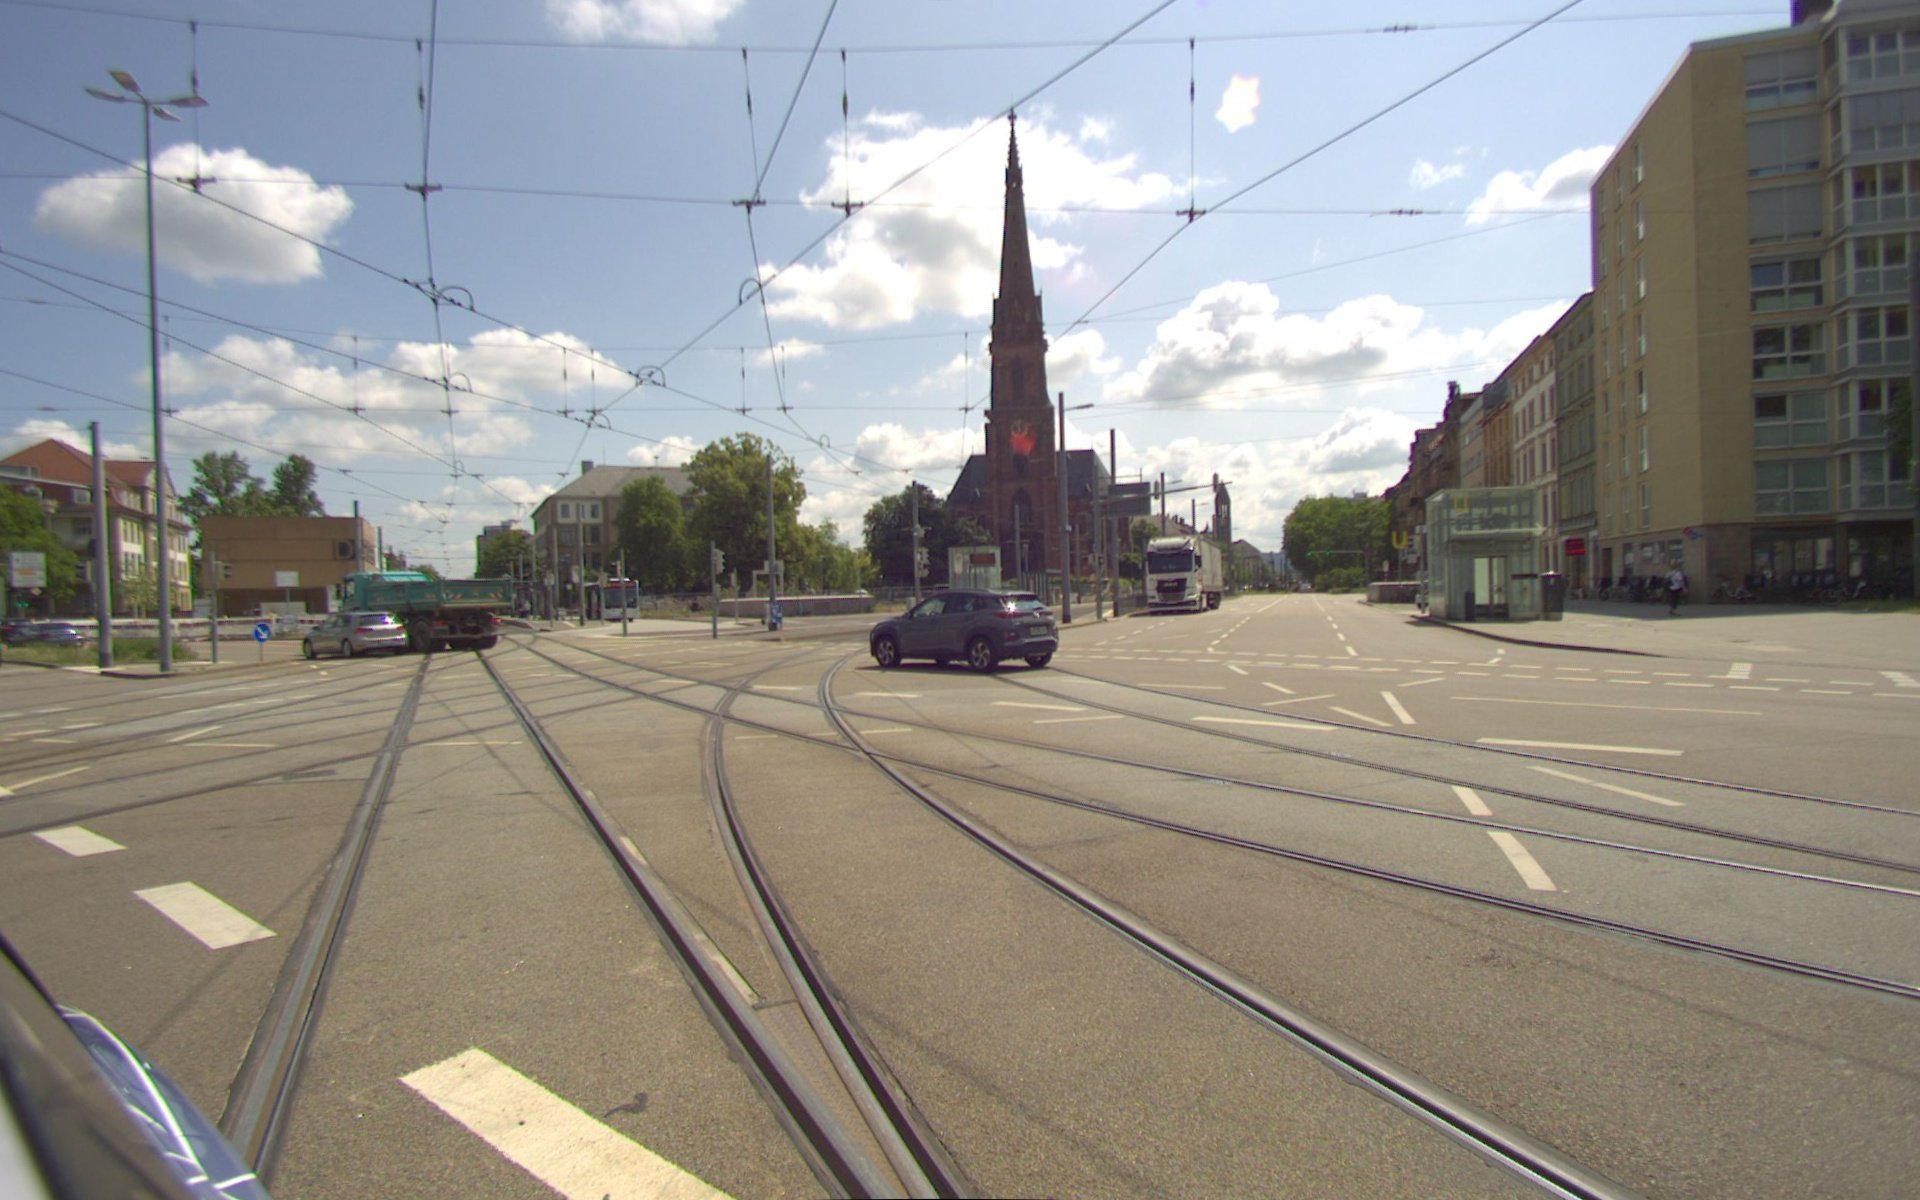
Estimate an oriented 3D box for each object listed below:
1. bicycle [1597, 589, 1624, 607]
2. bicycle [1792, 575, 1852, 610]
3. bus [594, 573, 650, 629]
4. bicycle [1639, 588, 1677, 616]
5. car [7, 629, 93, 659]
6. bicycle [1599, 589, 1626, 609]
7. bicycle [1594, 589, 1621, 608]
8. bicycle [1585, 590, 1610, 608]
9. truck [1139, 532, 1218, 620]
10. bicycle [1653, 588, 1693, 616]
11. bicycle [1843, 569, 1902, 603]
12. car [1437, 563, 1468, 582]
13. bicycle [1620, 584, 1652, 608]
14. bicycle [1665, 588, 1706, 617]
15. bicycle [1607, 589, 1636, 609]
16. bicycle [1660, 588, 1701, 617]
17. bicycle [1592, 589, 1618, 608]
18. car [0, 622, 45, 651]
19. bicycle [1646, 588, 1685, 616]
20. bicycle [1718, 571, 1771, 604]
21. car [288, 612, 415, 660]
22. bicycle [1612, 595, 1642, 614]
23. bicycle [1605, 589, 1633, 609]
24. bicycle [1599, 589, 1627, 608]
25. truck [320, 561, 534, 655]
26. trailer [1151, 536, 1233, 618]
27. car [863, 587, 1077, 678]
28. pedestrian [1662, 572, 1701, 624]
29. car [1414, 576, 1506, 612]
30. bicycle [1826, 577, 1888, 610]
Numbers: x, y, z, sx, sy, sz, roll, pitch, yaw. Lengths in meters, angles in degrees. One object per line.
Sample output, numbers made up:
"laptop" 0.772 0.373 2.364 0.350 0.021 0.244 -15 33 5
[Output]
"bicycle" 32.704 -0.106 50.858 1.056 0.856 0.376 -2 0 16
"bicycle" 32.196 -0.272 37.816 1.590 1.274 0.490 -1 1 21
"bus" -22.677 0.047 67.619 2.901 3.473 7.974 -1 0 -23
"bicycle" 30.531 0.091 44.255 1.263 1.154 0.457 -2 0 17
"car" -42.450 2.045 47.201 3.922 1.241 1.808 -2 0 29
"bicycle" 33.020 -0.056 51.219 1.056 0.945 0.376 -2 0 16
"bicycle" 33.046 -0.065 51.674 1.056 0.945 0.376 -2 0 16
"bicycle" 33.780 -0.060 53.632 1.056 0.945 0.376 -2 0 16
"truck" 11.297 -1.166 51.896 2.942 4.149 6.832 -2 0 20
"bicycle" 30.099 0.100 42.734 1.263 1.154 0.457 -2 0 17
"bicycle" 35.396 -0.551 39.273 1.590 1.274 0.490 -1 1 21
"car" 48.876 -2.710 100.549 1.981 1.730 3.982 -1 1 14
"bicycle" 31.050 -0.178 46.470 1.150 1.082 0.306 -2 0 17
"bicycle" 29.721 0.109 41.470 1.263 1.154 0.457 -2 0 17
"bicycle" 31.522 -0.055 48.245 1.056 0.945 0.376 -2 0 17
"bicycle" 29.900 0.108 42.016 1.263 1.154 0.457 -2 0 17
"bicycle" 33.387 -0.067 52.381 1.056 0.945 0.376 -2 0 16
"car" -58.527 2.266 62.284 3.980 1.696 1.982 -2 0 27
"bicycle" 30.367 0.097 43.569 1.263 1.154 0.457 -2 0 17
"bicycle" 31.500 -0.488 40.657 1.590 1.274 0.490 -1 1 21
"car" -19.573 1.141 32.517 4.327 1.426 1.833 -2 -1 34
"bicycle" 31.071 0.217 47.141 1.056 0.830 0.376 -2 0 17
"bicycle" 32.004 -0.058 49.170 1.056 0.945 0.376 -2 0 17
"bicycle" 32.546 -0.075 50.458 1.056 0.945 0.376 -2 0 17
"truck" -19.429 0.332 36.632 8.717 3.021 3.316 -2 0 36
"trailer" 13.621 -1.265 58.317 2.927 4.107 13.330 -2 0 20
"car" 0.105 0.596 19.809 1.788 1.572 4.110 -1 0 -45
"pedestrian" 22.494 -0.064 31.572 0.876 1.572 0.717 -2 0 29
"car" 24.627 -0.309 49.840 4.101 1.655 1.635 -1 0 -21
"bicycle" 32.511 -0.233 36.688 1.590 1.176 0.490 -1 1 21
